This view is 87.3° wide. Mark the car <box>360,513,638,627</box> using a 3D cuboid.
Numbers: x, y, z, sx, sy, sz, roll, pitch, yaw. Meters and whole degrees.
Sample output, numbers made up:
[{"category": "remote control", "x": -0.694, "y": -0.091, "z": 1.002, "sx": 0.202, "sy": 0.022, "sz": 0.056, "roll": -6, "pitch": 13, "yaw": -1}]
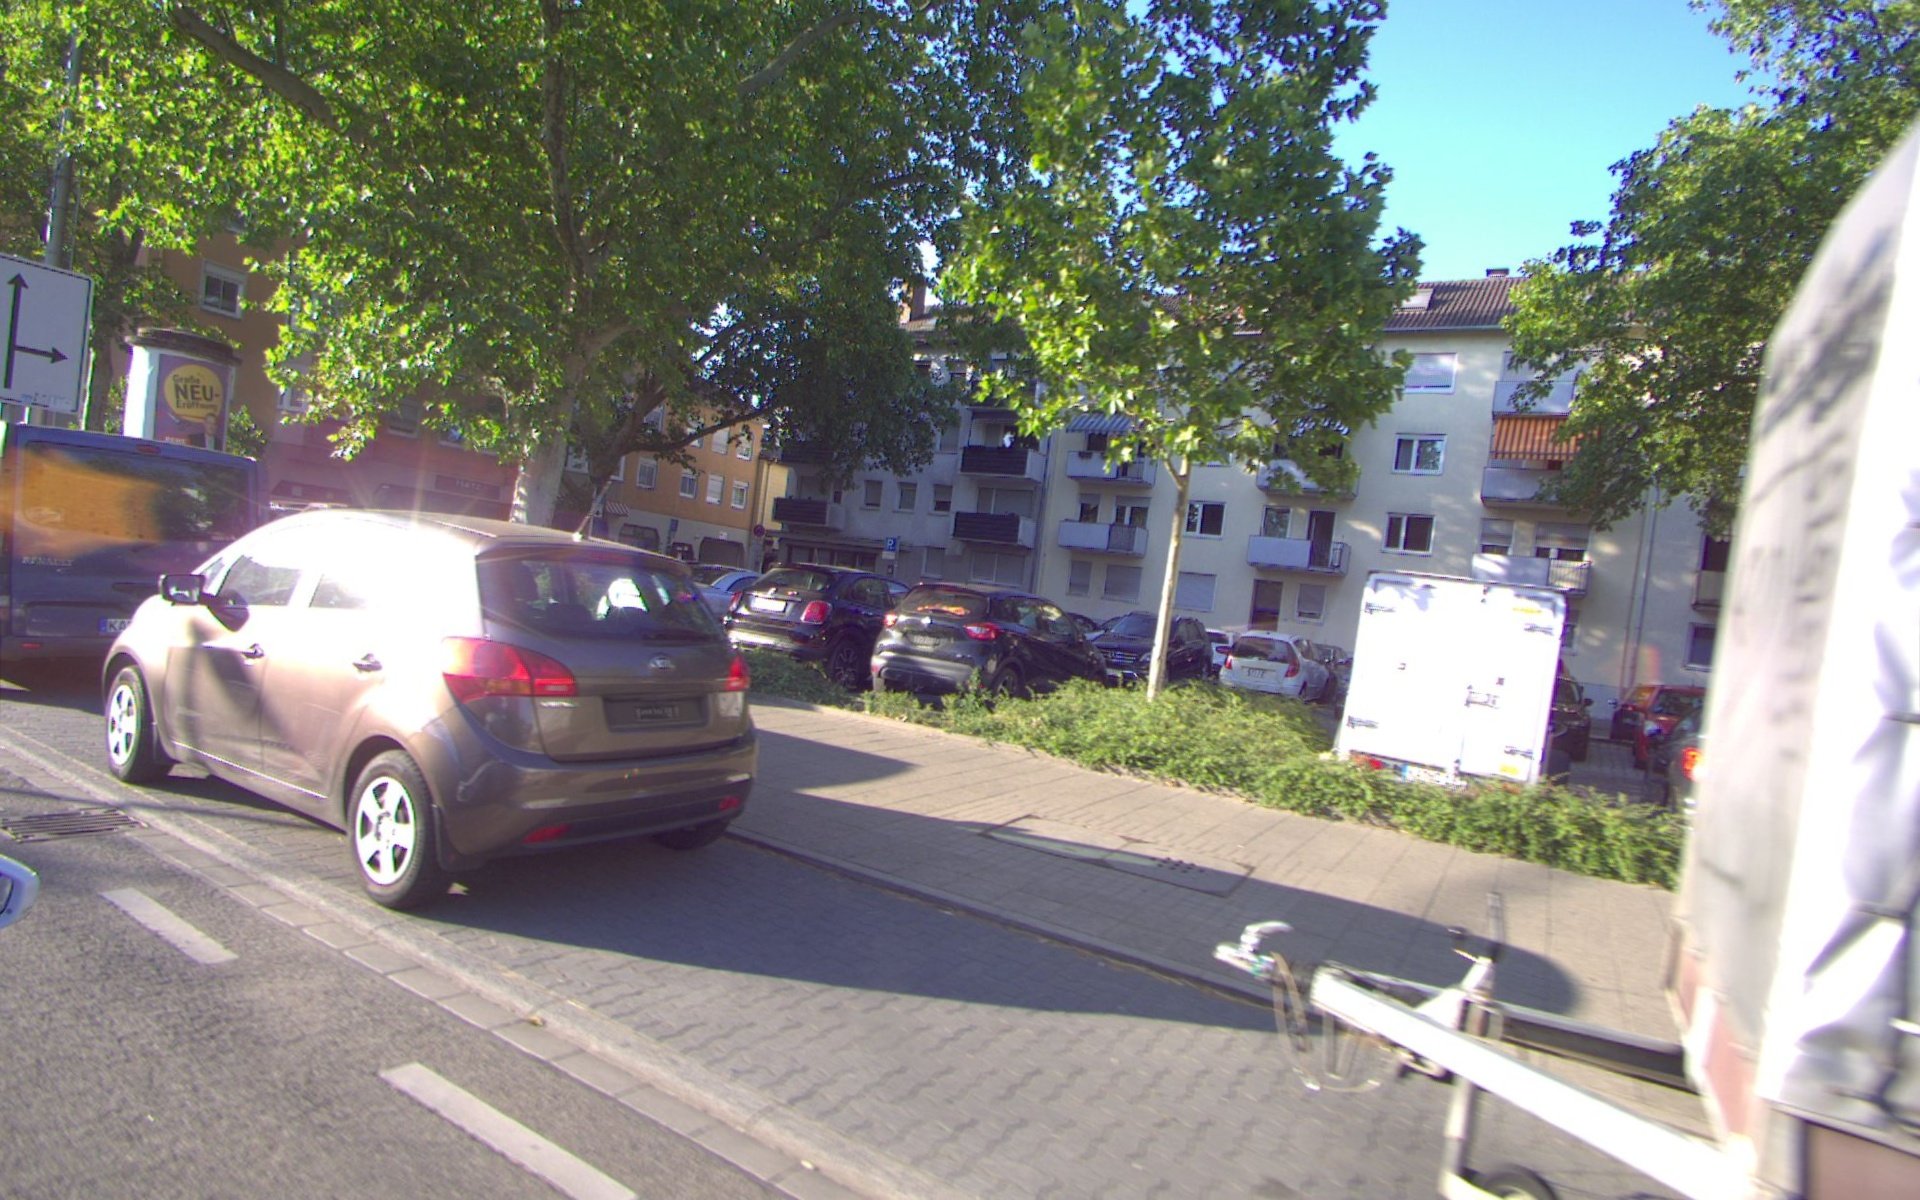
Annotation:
[{"category": "car", "x": -8.061, "y": -0.462, "z": 17.971, "sx": 1.773, "sy": 1.514, "sz": 4.115, "roll": 7, "pitch": 0, "yaw": 32}]

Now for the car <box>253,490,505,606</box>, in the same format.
[{"category": "car", "x": -11.558, "y": -0.989, "z": 20.256, "sx": 1.826, "sy": 1.650, "sz": 3.847, "roll": 7, "pitch": -2, "yaw": 32}]

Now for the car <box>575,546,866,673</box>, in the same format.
[{"category": "car", "x": -3.452, "y": 0.227, "z": 15.236, "sx": 1.773, "sy": 1.514, "sz": 4.115, "roll": 7, "pitch": 0, "yaw": 32}]

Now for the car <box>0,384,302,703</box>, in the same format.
[{"category": "car", "x": -7.823, "y": -0.540, "z": 8.531, "sx": 4.487, "sy": 2.104, "sz": 1.887, "roll": 7, "pitch": 1, "yaw": 32}]

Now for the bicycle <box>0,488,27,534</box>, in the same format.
[{"category": "bicycle", "x": -22.516, "y": -2.113, "z": 23.119, "sx": 0.640, "sy": 1.026, "sz": 1.677, "roll": 6, "pitch": 1, "yaw": -7}]

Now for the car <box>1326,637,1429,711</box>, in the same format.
[{"category": "car", "x": 10.912, "y": 1.895, "z": 26.117, "sx": 1.965, "sy": 1.514, "sz": 4.290, "roll": 7, "pitch": 0, "yaw": 27}]

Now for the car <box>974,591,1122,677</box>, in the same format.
[{"category": "car", "x": 2.253, "y": 0.872, "z": 24.529, "sx": 1.965, "sy": 1.712, "sz": 4.290, "roll": 7, "pitch": 0, "yaw": 27}]

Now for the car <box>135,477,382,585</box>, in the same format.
[{"category": "car", "x": -15.651, "y": -1.496, "z": 22.677, "sx": 1.825, "sy": 1.618, "sz": 4.033, "roll": 7, "pitch": -3, "yaw": 30}]

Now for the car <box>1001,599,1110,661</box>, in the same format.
[{"category": "car", "x": 2.912, "y": 0.941, "z": 30.082, "sx": 1.785, "sy": 1.514, "sz": 3.878, "roll": 7, "pitch": 0, "yaw": 27}]

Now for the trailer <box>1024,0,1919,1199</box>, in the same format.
[{"category": "trailer", "x": 2.714, "y": 0.352, "z": 1.956, "sx": 4.573, "sy": 2.621, "sz": 1.887, "roll": 7, "pitch": 1, "yaw": 32}]

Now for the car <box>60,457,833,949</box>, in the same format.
[{"category": "car", "x": -2.862, "y": 0.286, "z": 5.394, "sx": 3.933, "sy": 1.651, "sz": 1.797, "roll": 7, "pitch": 1, "yaw": 31}]

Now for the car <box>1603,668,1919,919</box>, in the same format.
[{"category": "car", "x": 7.177, "y": 1.487, "z": 8.888, "sx": 1.965, "sy": 1.514, "sz": 4.290, "roll": 7, "pitch": 0, "yaw": 27}]

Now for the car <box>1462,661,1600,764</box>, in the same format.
[{"category": "car", "x": 11.048, "y": 2.100, "z": 19.699, "sx": 1.965, "sy": 1.514, "sz": 4.290, "roll": 7, "pitch": 0, "yaw": 27}]

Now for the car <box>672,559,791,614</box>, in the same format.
[{"category": "car", "x": -8.471, "y": -0.460, "z": 37.589, "sx": 1.967, "sy": 1.554, "sz": 4.054, "roll": 7, "pitch": 0, "yaw": 31}]

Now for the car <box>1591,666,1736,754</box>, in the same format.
[{"category": "car", "x": 15.762, "y": 2.386, "z": 22.772, "sx": 1.965, "sy": 1.514, "sz": 4.290, "roll": 7, "pitch": 0, "yaw": 27}]

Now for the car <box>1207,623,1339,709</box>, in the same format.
[{"category": "car", "x": 7.106, "y": 1.468, "z": 22.562, "sx": 1.965, "sy": 1.514, "sz": 4.290, "roll": 7, "pitch": 0, "yaw": 27}]

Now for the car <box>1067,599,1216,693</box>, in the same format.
[{"category": "car", "x": 4.241, "y": 1.074, "z": 22.907, "sx": 1.965, "sy": 1.712, "sz": 4.451, "roll": 7, "pitch": 0, "yaw": 27}]

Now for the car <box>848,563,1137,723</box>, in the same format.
[{"category": "car", "x": 0.603, "y": 0.660, "z": 13.065, "sx": 1.773, "sy": 1.568, "sz": 4.120, "roll": 7, "pitch": -2, "yaw": 32}]

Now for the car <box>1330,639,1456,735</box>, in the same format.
[{"category": "car", "x": 9.151, "y": 1.758, "z": 21.058, "sx": 1.965, "sy": 1.553, "sz": 4.290, "roll": 7, "pitch": 0, "yaw": 27}]

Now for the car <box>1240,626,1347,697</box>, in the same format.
[{"category": "car", "x": 9.072, "y": 1.660, "z": 27.146, "sx": 1.948, "sy": 1.514, "sz": 4.290, "roll": 7, "pitch": 0, "yaw": 27}]

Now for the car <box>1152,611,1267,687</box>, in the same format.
[{"category": "car", "x": 6.956, "y": 1.371, "z": 27.742, "sx": 1.965, "sy": 1.712, "sz": 4.290, "roll": 7, "pitch": 0, "yaw": 27}]

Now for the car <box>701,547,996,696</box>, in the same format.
[{"category": "car", "x": -1.366, "y": 0.356, "z": 14.004, "sx": 1.773, "sy": 1.619, "sz": 4.115, "roll": 7, "pitch": 0, "yaw": 32}]

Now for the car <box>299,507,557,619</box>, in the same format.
[{"category": "car", "x": -10.009, "y": -0.643, "z": 19.199, "sx": 1.773, "sy": 1.453, "sz": 3.847, "roll": 9, "pitch": -1, "yaw": 32}]

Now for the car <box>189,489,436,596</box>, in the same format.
[{"category": "car", "x": -13.532, "y": -1.148, "z": 21.240, "sx": 1.826, "sy": 1.511, "sz": 3.849, "roll": 7, "pitch": -3, "yaw": 32}]

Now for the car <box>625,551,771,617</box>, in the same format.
[{"category": "car", "x": -8.016, "y": -0.458, "z": 31.129, "sx": 1.967, "sy": 1.554, "sz": 4.054, "roll": 7, "pitch": 0, "yaw": 31}]

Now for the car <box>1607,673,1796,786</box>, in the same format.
[{"category": "car", "x": 13.377, "y": 2.239, "z": 18.445, "sx": 1.965, "sy": 1.514, "sz": 4.290, "roll": 7, "pitch": 0, "yaw": 27}]

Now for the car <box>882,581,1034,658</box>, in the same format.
[{"category": "car", "x": 0.052, "y": 0.544, "z": 25.567, "sx": 1.965, "sy": 1.553, "sz": 4.290, "roll": 7, "pitch": 0, "yaw": 27}]
